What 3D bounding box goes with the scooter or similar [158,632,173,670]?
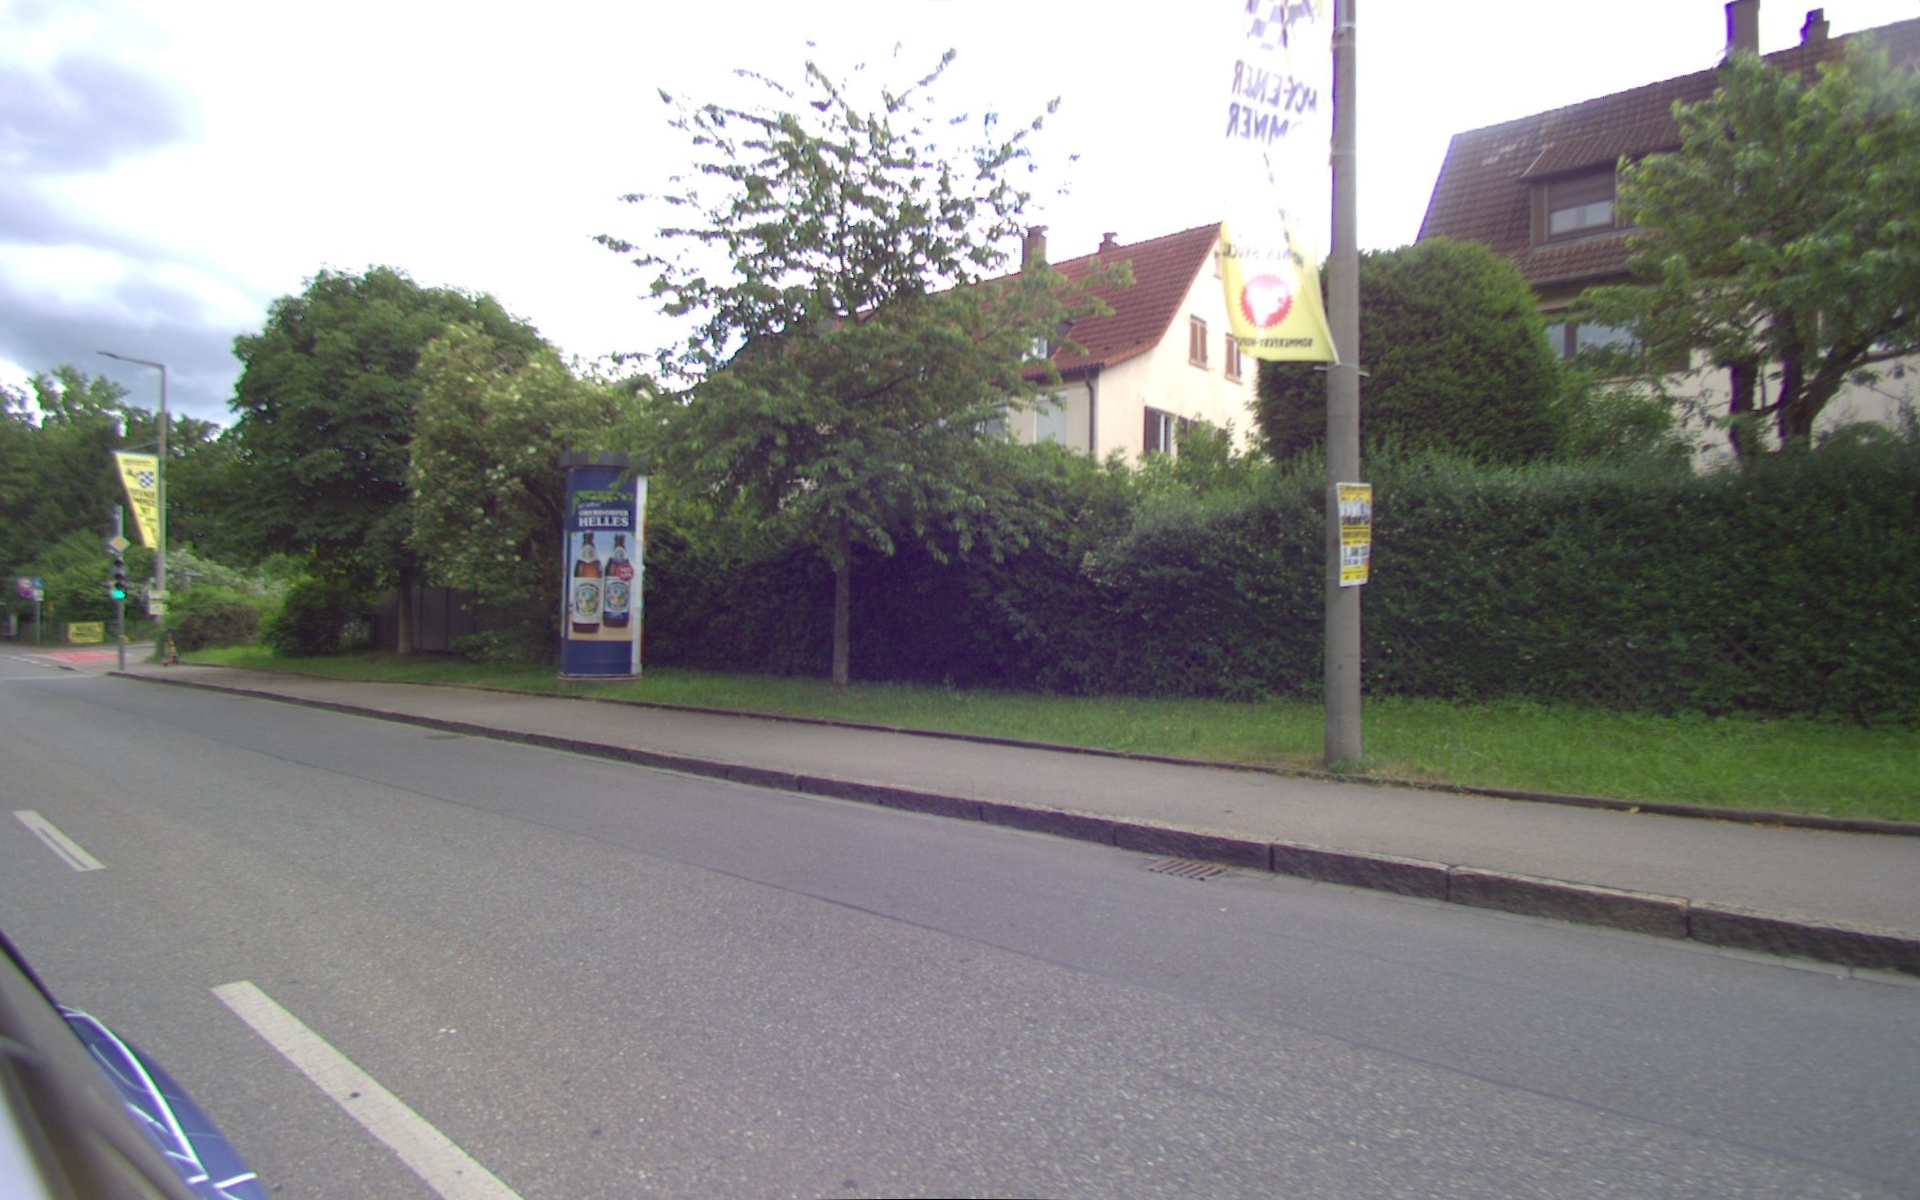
[{"bbox_3d":[-26.355,1.679,33.580,0.250,1.225,1.280,0,-2,-45],"label":"scooter or similar"}]
